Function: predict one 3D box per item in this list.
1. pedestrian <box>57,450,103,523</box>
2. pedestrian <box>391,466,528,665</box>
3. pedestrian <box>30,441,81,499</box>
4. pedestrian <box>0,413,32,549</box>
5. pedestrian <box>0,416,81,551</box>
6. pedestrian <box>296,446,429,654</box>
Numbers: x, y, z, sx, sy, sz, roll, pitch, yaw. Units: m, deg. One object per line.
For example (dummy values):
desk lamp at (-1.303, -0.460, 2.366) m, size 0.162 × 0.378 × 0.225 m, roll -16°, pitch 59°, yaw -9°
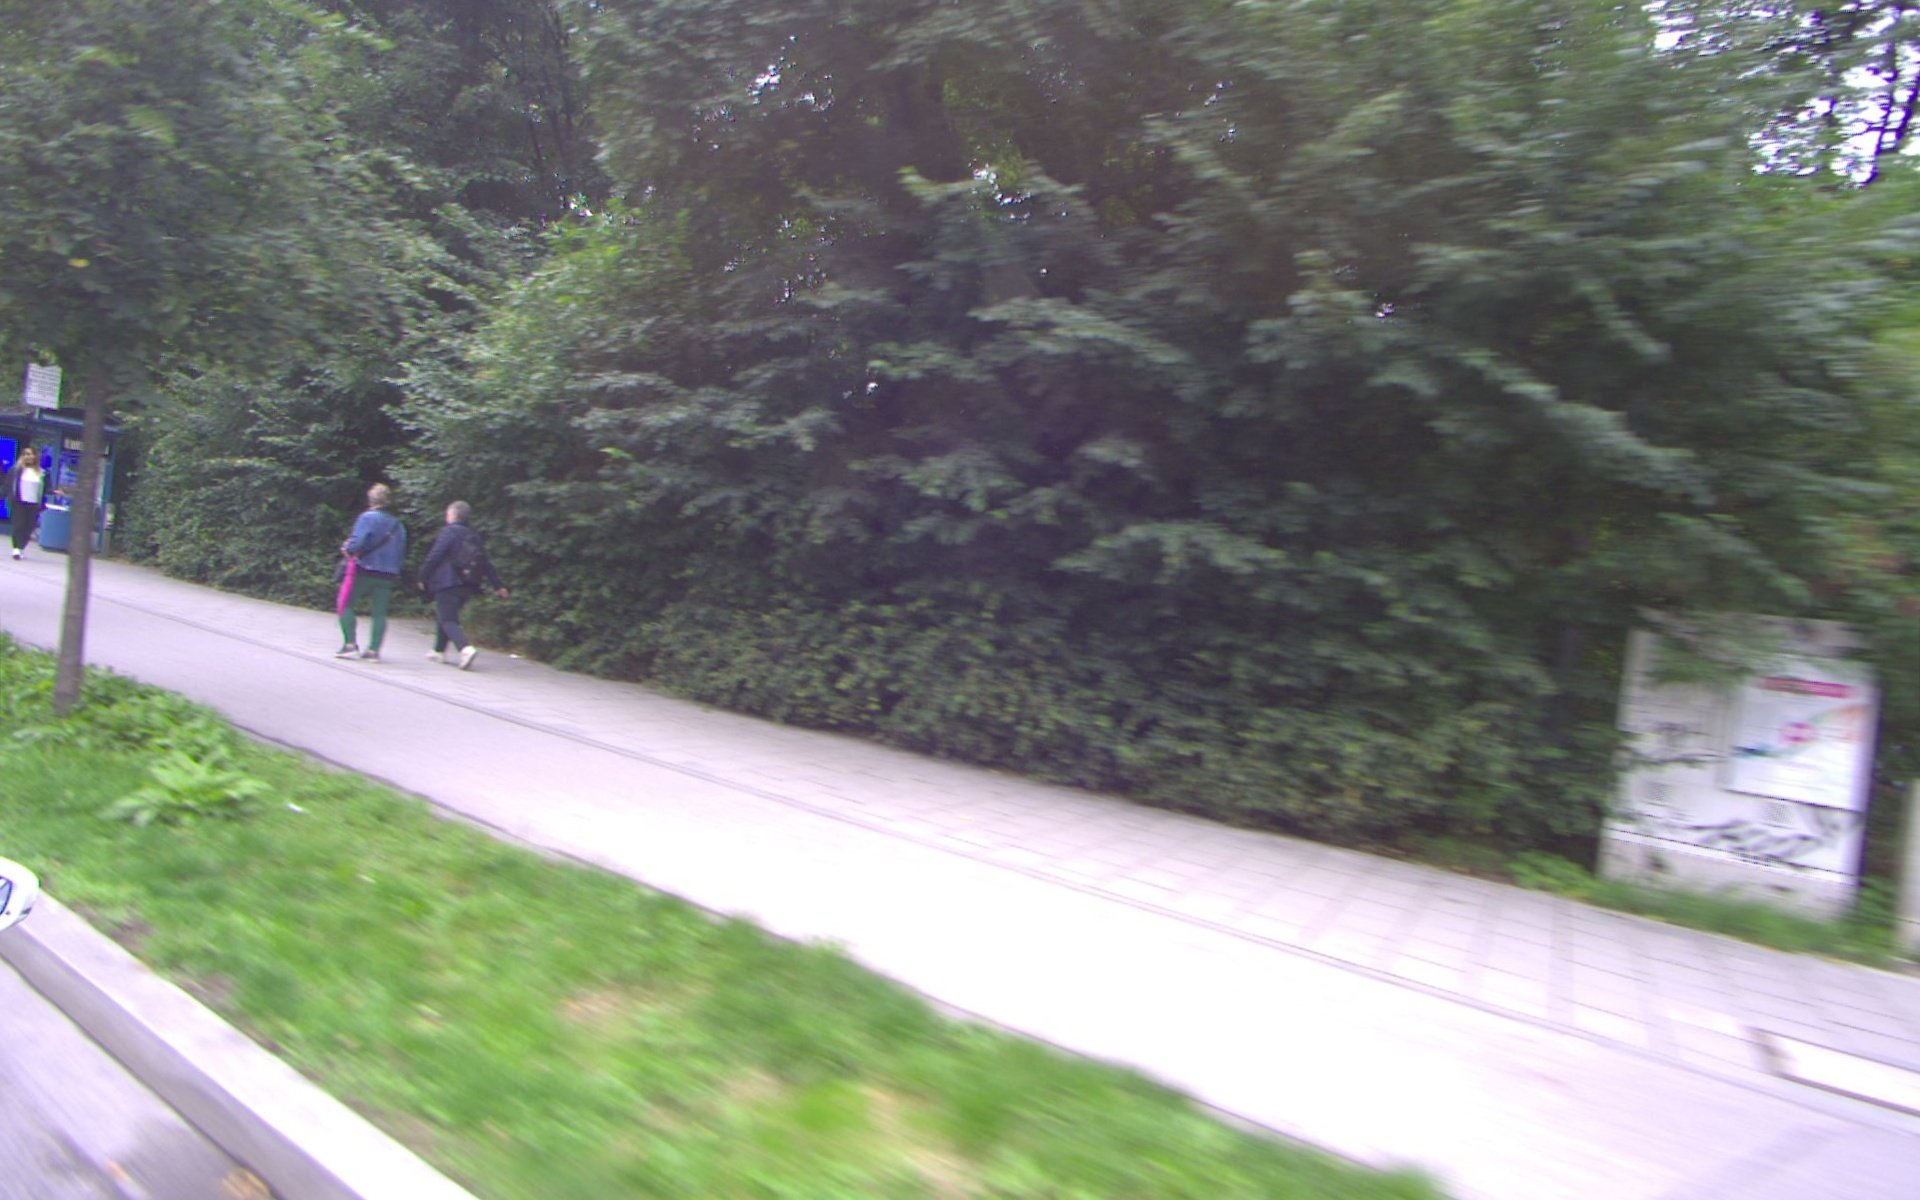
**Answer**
pedestrian at (-23.243, -3.004, 26.571) m, size 0.524 × 1.788 × 0.637 m, roll 8°, pitch 0°, yaw 34°
pedestrian at (-5.076, -0.339, 10.220) m, size 0.744 × 1.860 × 0.752 m, roll 8°, pitch 0°, yaw 33°
pedestrian at (-26.729, -3.835, 29.735) m, size 0.717 × 1.525 × 0.813 m, roll 8°, pitch 0°, yaw 34°
pedestrian at (-14.435, -1.812, 14.814) m, size 0.940 × 1.938 × 0.709 m, roll 8°, pitch 0°, yaw 32°
pedestrian at (-14.496, -1.815, 15.724) m, size 0.940 × 1.938 × 0.709 m, roll 8°, pitch 0°, yaw 32°
pedestrian at (-5.711, -0.467, 9.630) m, size 0.630 × 1.860 × 0.672 m, roll 8°, pitch 0°, yaw 33°
